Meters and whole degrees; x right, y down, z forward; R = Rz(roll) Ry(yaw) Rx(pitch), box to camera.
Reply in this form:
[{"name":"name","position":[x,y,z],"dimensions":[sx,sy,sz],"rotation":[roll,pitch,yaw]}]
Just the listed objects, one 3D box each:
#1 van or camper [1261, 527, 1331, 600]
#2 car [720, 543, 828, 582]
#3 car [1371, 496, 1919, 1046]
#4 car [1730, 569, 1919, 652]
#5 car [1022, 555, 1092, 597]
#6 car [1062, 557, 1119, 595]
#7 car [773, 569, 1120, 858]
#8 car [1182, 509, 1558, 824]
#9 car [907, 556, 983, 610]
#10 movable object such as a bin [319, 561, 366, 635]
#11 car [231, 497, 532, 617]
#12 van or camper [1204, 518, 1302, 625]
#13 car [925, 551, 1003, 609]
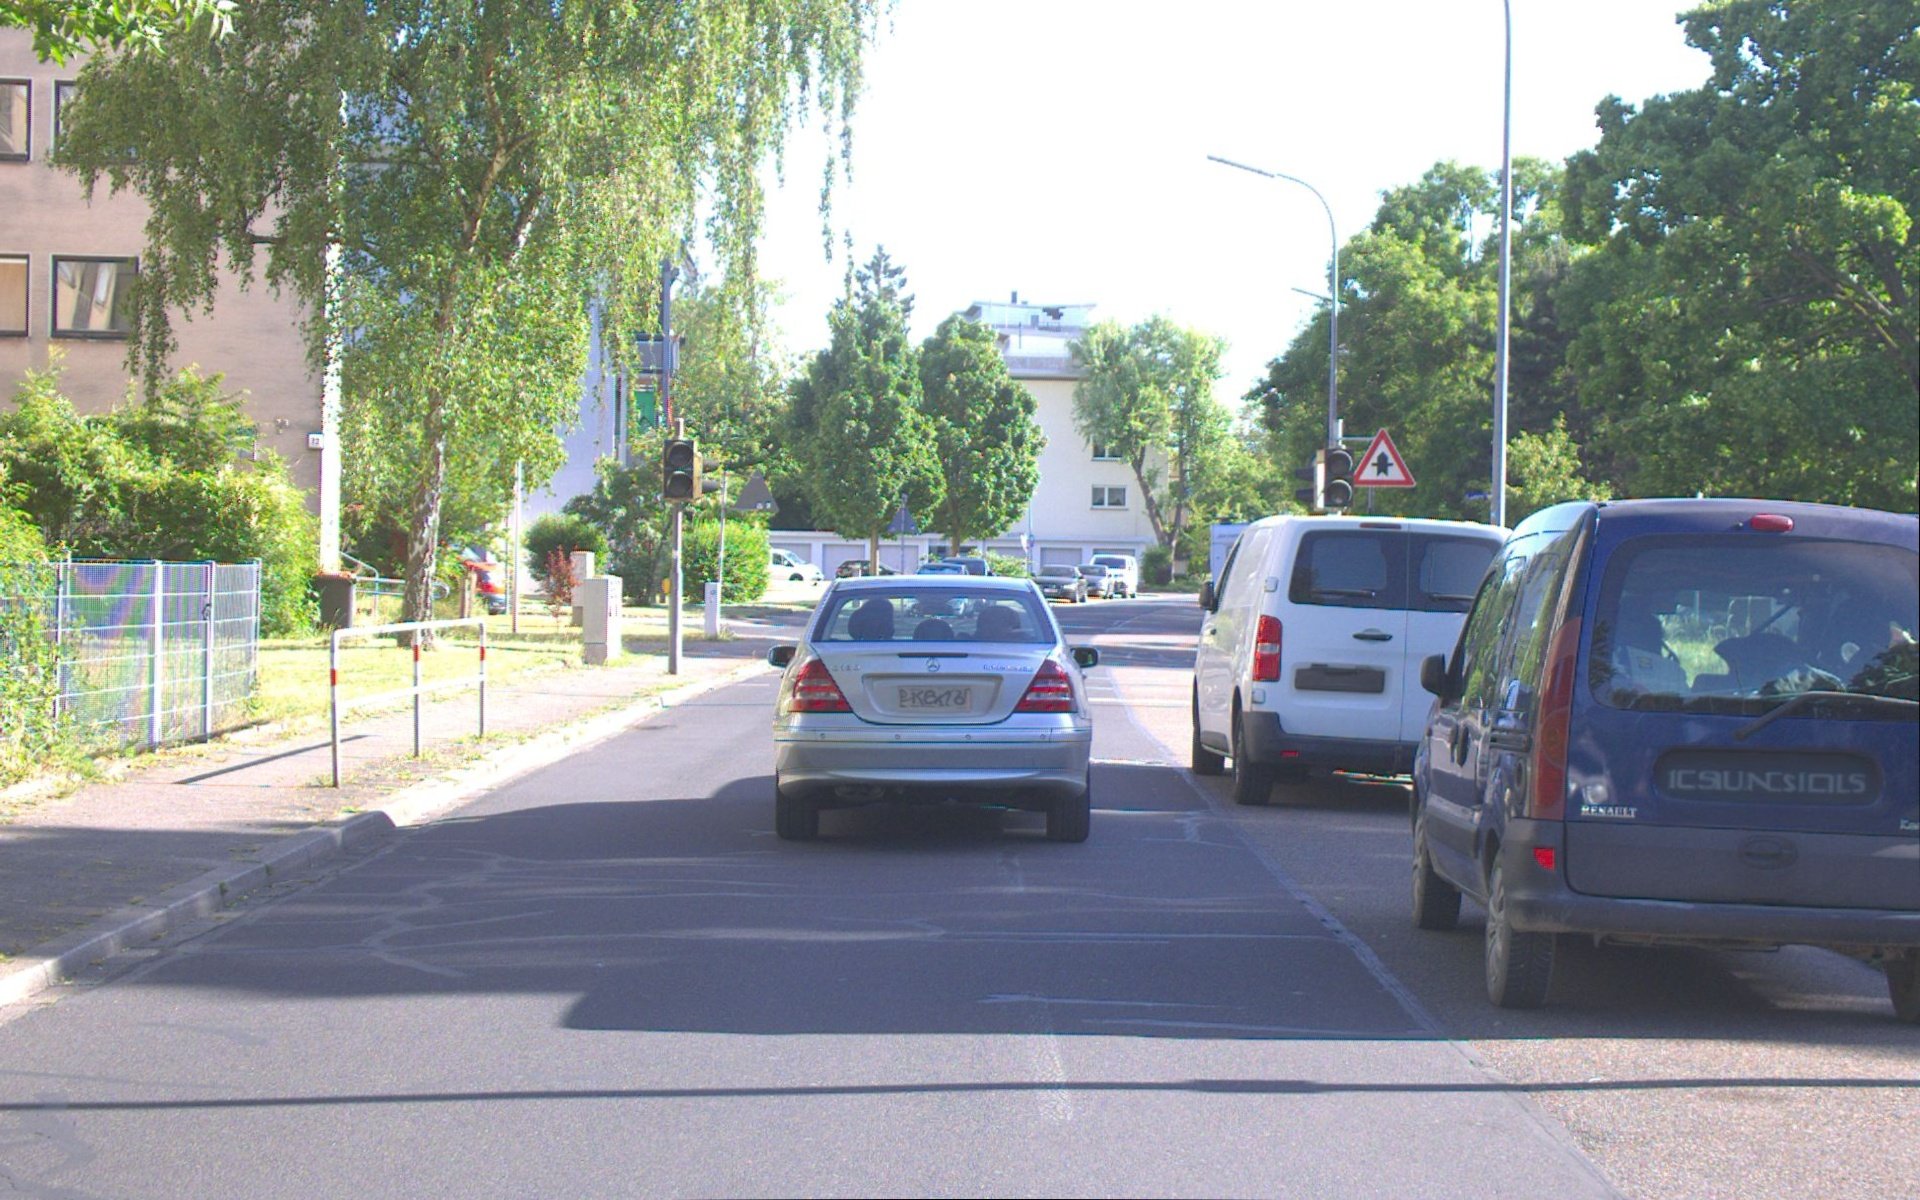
[{"name":"van or camper","position":[13.579,-1.482,138.575],"dimensions":[2.497,2.835,6.849],"rotation":[1,1,8]},{"name":"car","position":[-9.604,-1.923,177.557],"dimensions":[5.109,1.944,2.235],"rotation":[1,1,16]},{"name":"car","position":[2.652,0.529,13.141],"dimensions":[1.698,1.724,4.084],"rotation":[2,1,1]},{"name":"car","position":[17.431,0.193,69.163],"dimensions":[3.686,1.572,1.827],"rotation":[1,1,11]},{"name":"car","position":[3.774,-0.941,133.406],"dimensions":[2.035,1.487,5.254],"rotation":[4,1,8]},{"name":"car","position":[5.555,-0.999,146.103],"dimensions":[1.834,1.513,4.220],"rotation":[3,1,9]},{"name":"car","position":[-0.103,0.559,19.073],"dimensions":[1.733,1.429,3.438],"rotation":[1,1,-1]},{"name":"car","position":[2.684,0.381,23.622],"dimensions":[1.915,1.865,4.865],"rotation":[2,1,0]},{"name":"car","position":[-0.401,-0.510,98.558],"dimensions":[1.647,1.461,4.330],"rotation":[2,1,6]},{"name":"movable object such as a bin","position":[-8.906,-0.034,49.584],"dimensions":[0.563,1.050,0.557],"rotation":[1,0,-19]},{"name":"car","position":[-12.112,-0.920,72.271],"dimensions":[5.905,2.420,2.213],"rotation":[0,2,3]},{"name":"van or camper","position":[7.582,-0.745,88.840],"dimensions":[2.352,2.587,6.424],"rotation":[-2,0,5]},{"name":"car","position":[0.152,-0.631,104.844],"dimensions":[1.914,1.598,4.811],"rotation":[4,1,4]}]
